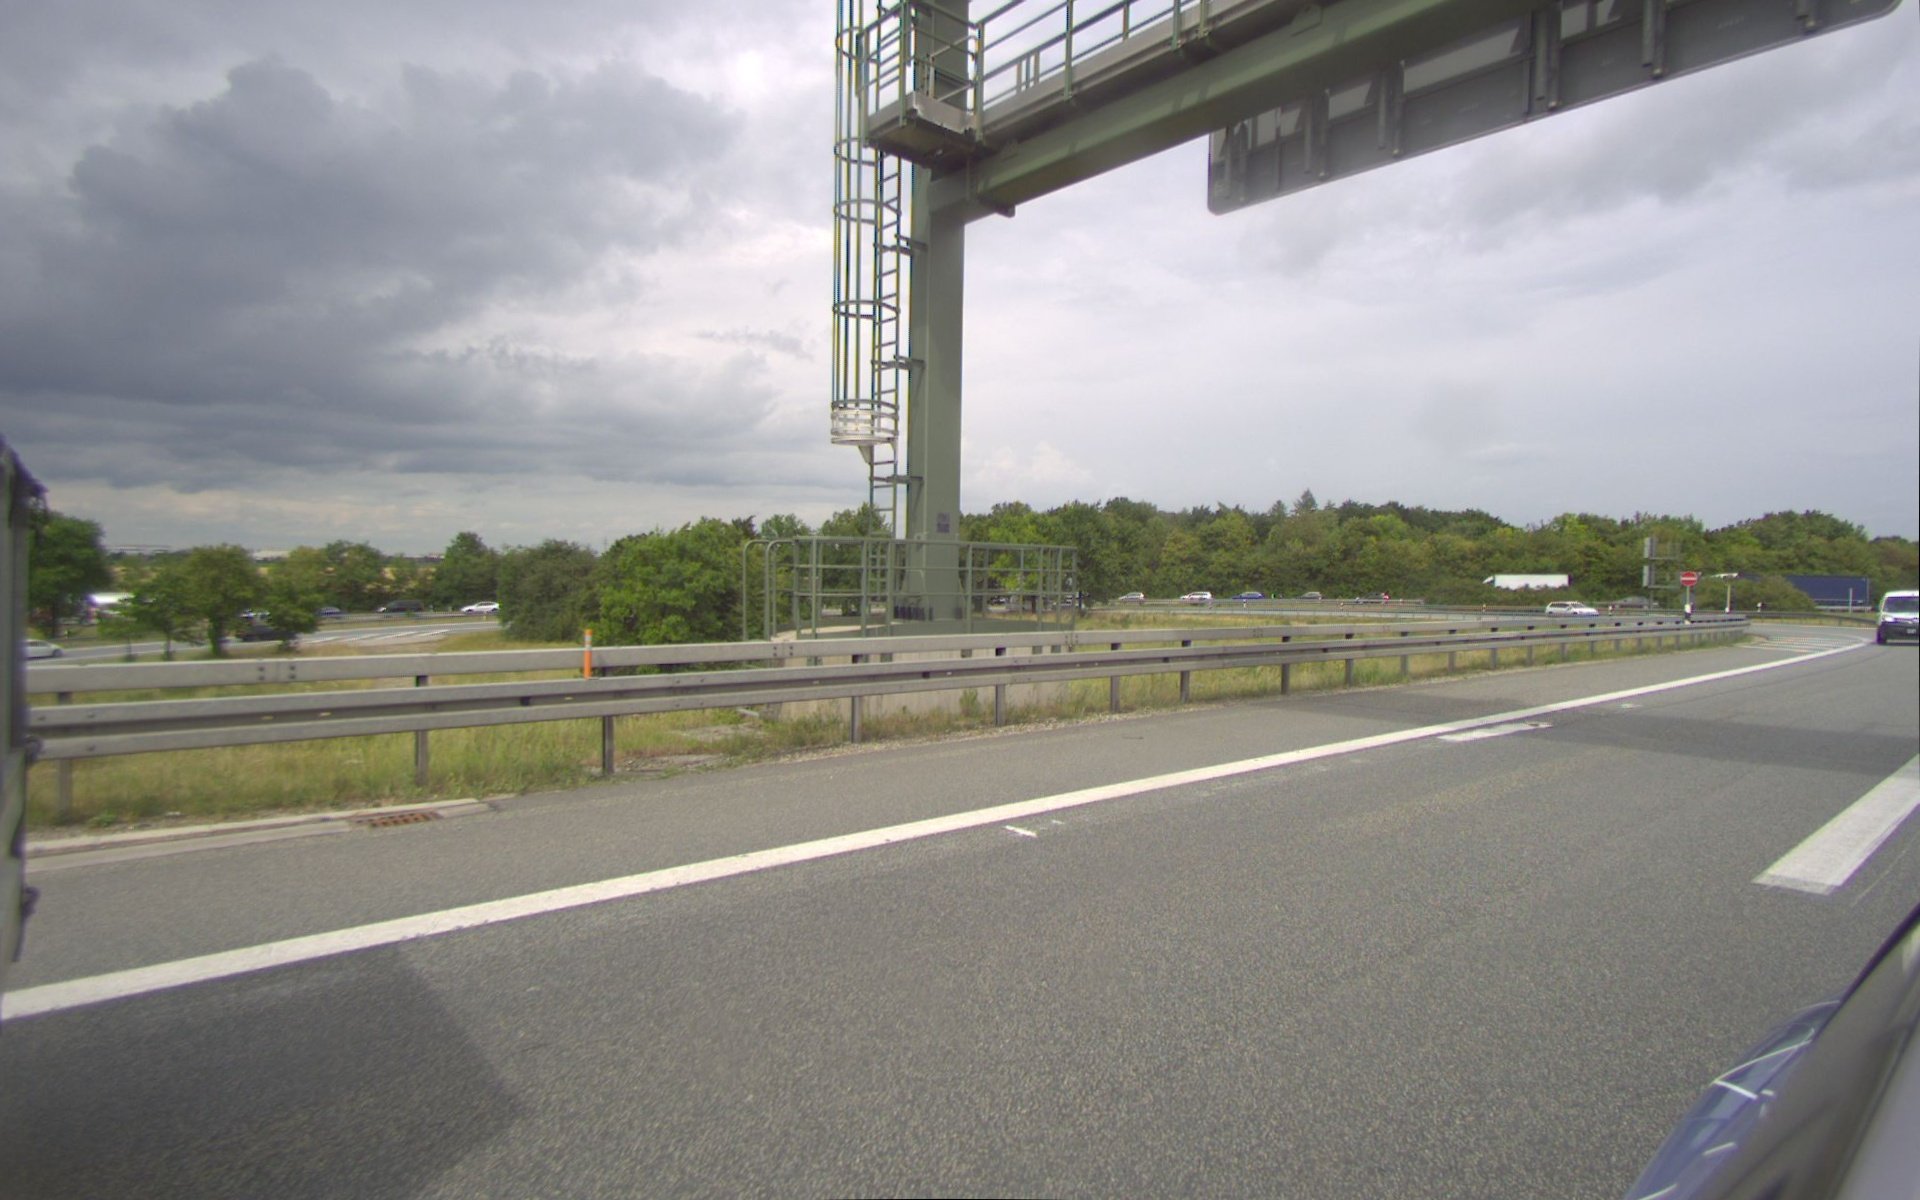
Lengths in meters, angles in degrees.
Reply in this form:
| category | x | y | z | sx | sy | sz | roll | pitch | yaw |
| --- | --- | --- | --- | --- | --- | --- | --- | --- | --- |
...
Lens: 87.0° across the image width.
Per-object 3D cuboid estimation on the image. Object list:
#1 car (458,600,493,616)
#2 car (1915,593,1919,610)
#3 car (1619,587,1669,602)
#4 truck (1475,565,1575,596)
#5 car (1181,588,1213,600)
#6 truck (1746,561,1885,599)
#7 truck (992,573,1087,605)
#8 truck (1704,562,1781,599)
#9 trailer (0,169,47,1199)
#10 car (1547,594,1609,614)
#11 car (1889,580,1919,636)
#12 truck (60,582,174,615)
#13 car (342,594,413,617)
| category | x | y | z | sx | sy | sz | roll | pitch | yaw |
| --- | --- | --- | --- | --- | --- | --- | --- | --- | --- |
| car | -60.393 | 0.988 | 126.106 | 3.919 | 1.973 | 1.737 | 0 | 0 | -29 |
| car | 102.393 | 0.189 | 105.090 | 4.418 | 1.807 | 1.997 | 0 | 0 | 6 |
| car | 71.206 | -0.561 | 105.392 | 3.952 | 1.569 | 1.726 | 0 | 0 | 22 |
| truck | 64.246 | -2.200 | 115.336 | 9.776 | 3.446 | 2.671 | 0 | 0 | 26 |
| car | 31.195 | -0.767 | 133.301 | 3.954 | 1.576 | 1.785 | 0 | 0 | 23 |
| truck | 90.306 | -2.052 | 107.014 | 11.586 | 3.907 | 2.843 | 0 | 0 | 6 |
| truck | 10.947 | -1.531 | 140.180 | 12.841 | 4.296 | 2.680 | 0 | 0 | 18 |
| truck | 83.276 | -2.096 | 107.764 | 5.825 | 3.851 | 2.897 | 0 | 0 | 6 |
| trailer | -3.743 | 0.383 | 0.718 | 4.551 | 2.039 | 1.858 | 0 | 0 | -42 |
| car | 49.326 | 0.299 | 80.870 | 1.691 | 1.560 | 4.490 | 0 | 0 | -9 |
| car | 31.841 | 0.232 | 33.173 | 1.858 | 1.768 | 3.935 | 0 | 0 | 45 |
| truck | -90.746 | -0.169 | 109.204 | 8.836 | 3.410 | 3.348 | 0 | 0 | -19 |
| car | -67.422 | 0.648 | 117.363 | 6.945 | 2.602 | 2.770 | 0 | 0 | -27 |
